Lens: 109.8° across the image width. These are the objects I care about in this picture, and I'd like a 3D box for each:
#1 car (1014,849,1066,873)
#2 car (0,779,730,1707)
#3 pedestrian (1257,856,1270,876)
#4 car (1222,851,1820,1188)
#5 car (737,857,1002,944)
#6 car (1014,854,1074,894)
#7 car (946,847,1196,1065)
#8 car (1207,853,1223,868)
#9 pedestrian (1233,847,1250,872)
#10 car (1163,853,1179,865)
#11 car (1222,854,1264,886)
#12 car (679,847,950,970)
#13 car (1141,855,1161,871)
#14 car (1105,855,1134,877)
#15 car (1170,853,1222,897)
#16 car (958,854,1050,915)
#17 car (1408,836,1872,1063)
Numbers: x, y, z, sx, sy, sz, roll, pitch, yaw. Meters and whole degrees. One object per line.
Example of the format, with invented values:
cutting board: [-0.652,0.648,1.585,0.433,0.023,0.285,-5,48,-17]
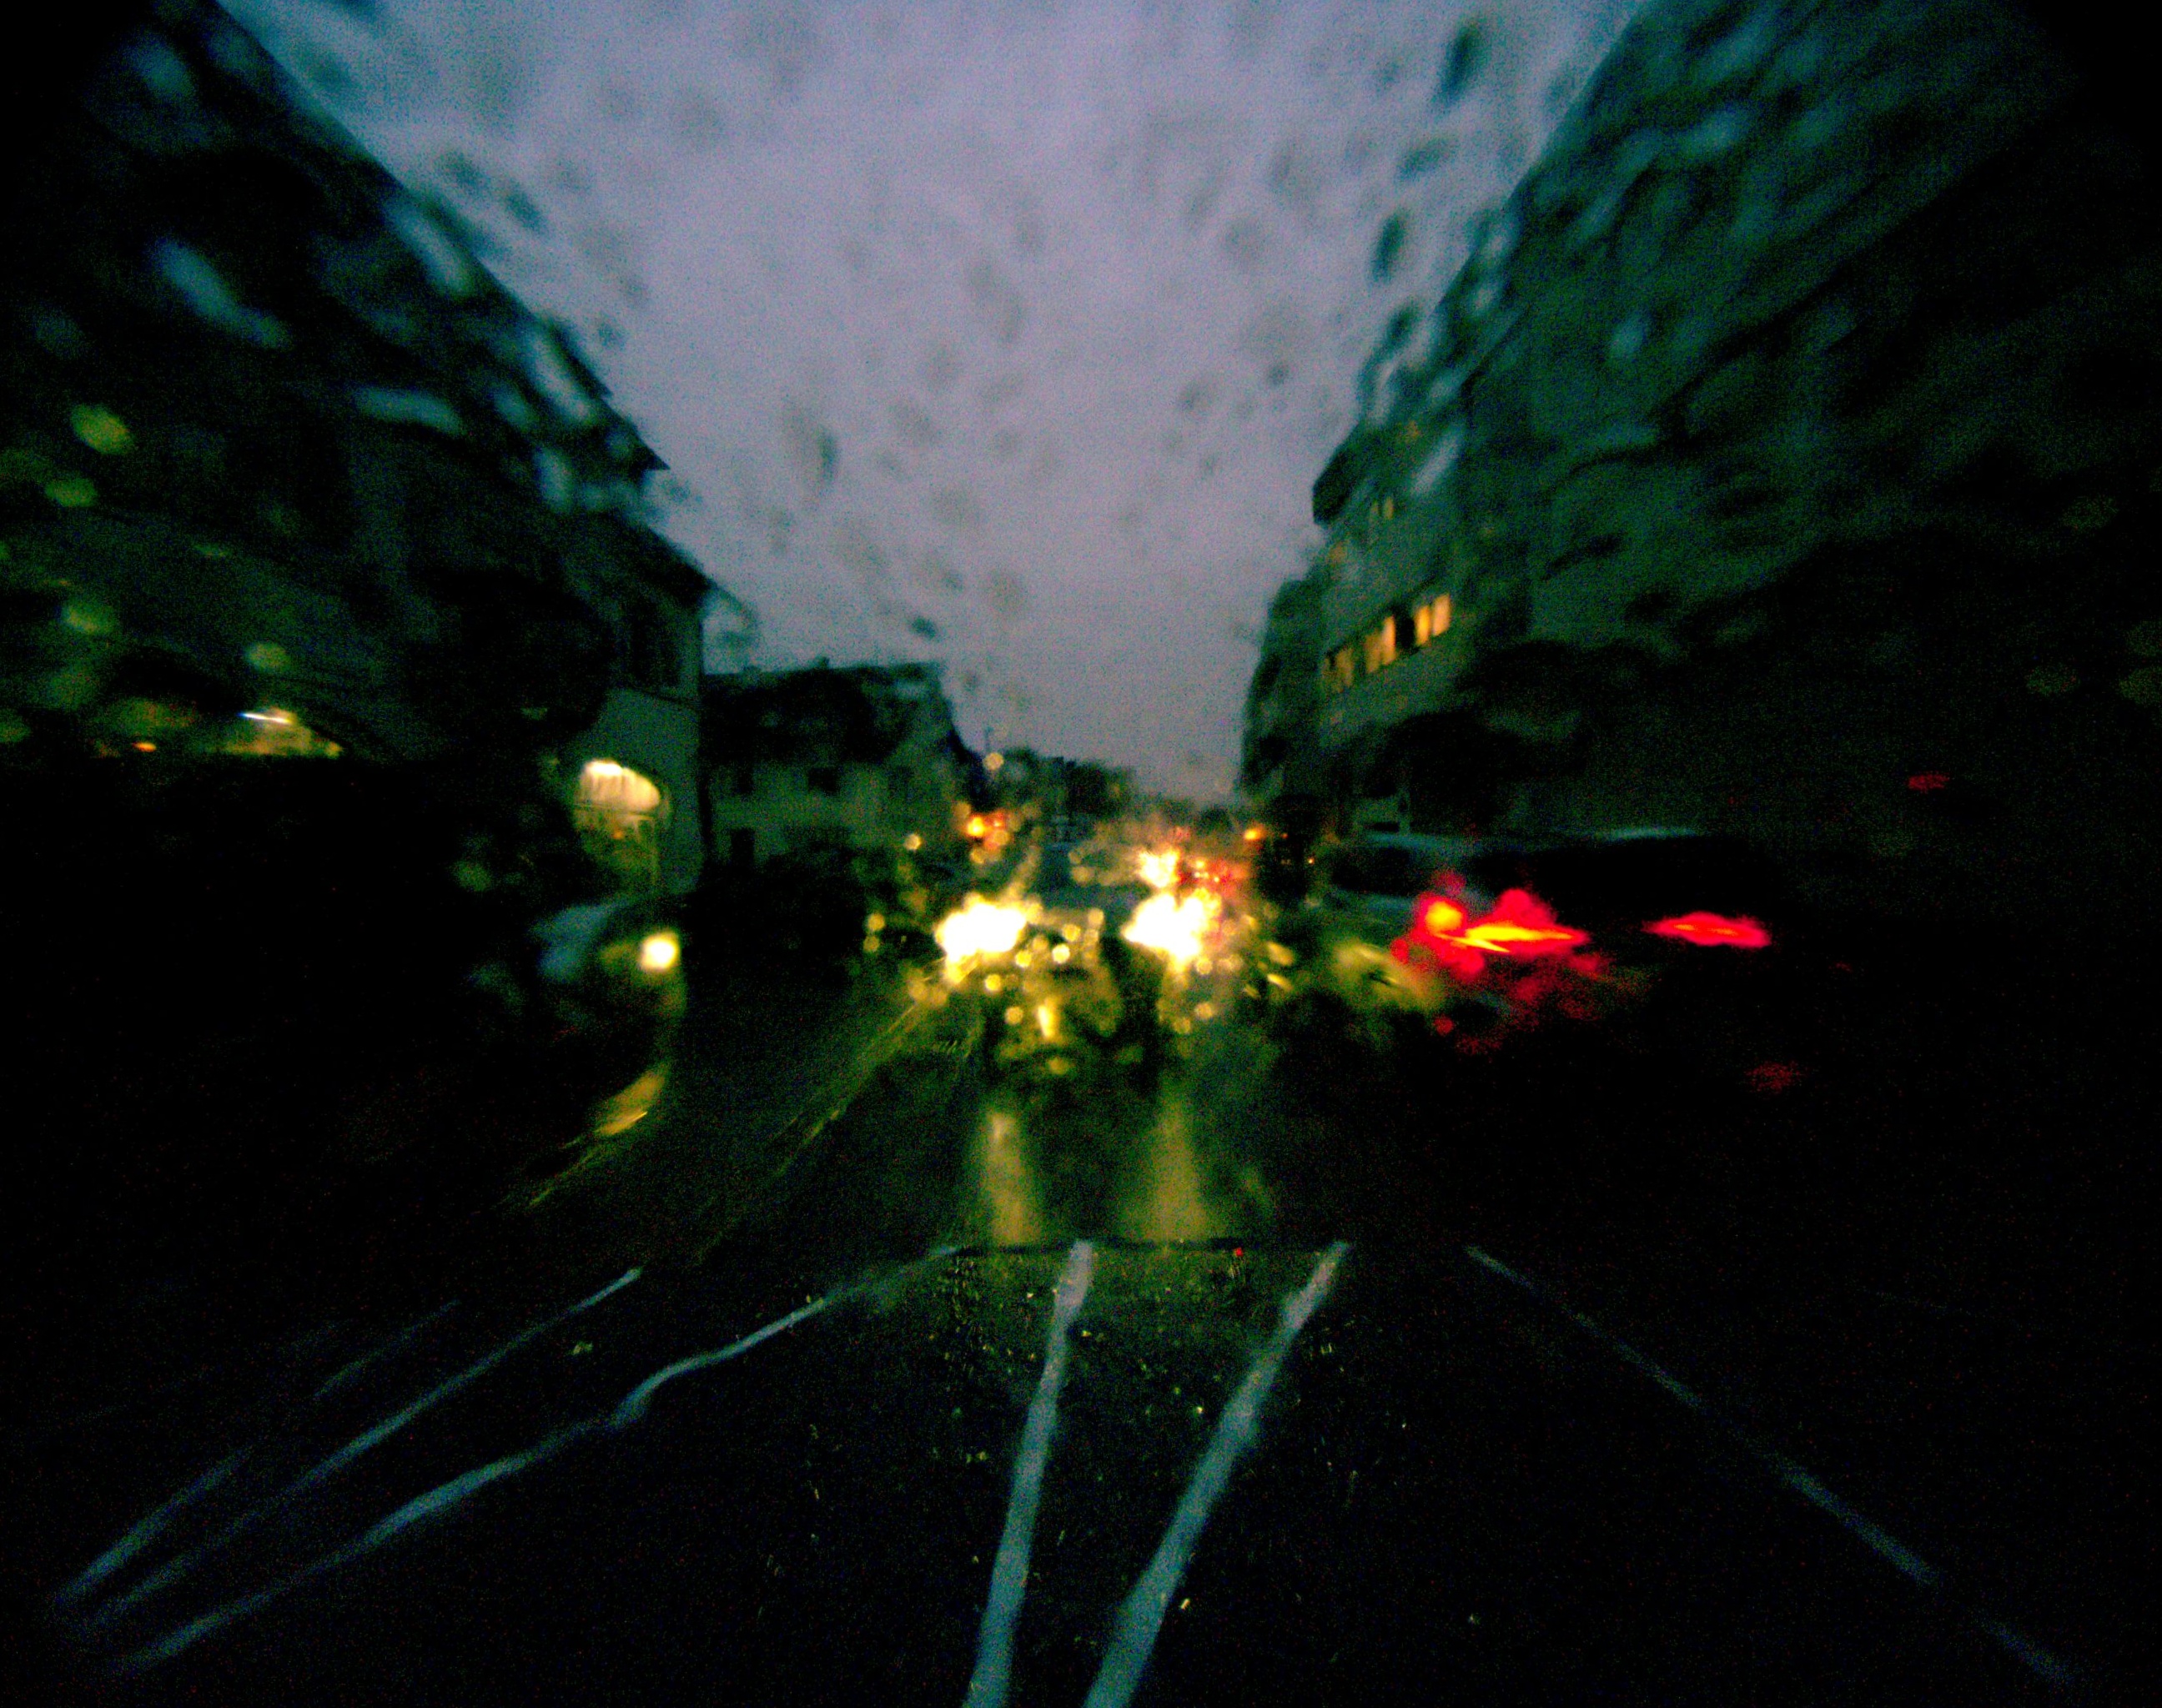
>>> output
car: [-2.812,0.460,52.509,3.295,1.433,1.687,3,2,8]
car: [-3.772,0.750,2.181,4.617,1.765,1.944,0,0,-4]
pedestrian: [12.064,0.801,50.202,0.757,1.303,0.829,-1,1,7]
car: [2.586,0.792,5.892,1.816,1.587,4.397,-1,0,-5]
car: [-3.844,0.836,14.420,4.478,1.465,1.898,1,0,0]
car: [-1.436,0.753,31.286,1.798,1.452,4.532,1,1,6]
car: [-0.084,0.776,7.913,1.879,1.622,3.999,-2,1,0]
car: [15.548,0.690,87.883,1.724,1.604,3.818,-3,0,10]
pedestrian: [12.519,0.396,59.255,1.200,1.927,0.978,0,0,16]
car: [11.656,0.662,98.387,1.797,1.501,4.003,1,1,10]
car: [7.961,0.748,37.733,1.678,1.438,4.430,1,0,7]
car: [-3.858,0.772,11.510,3.514,1.671,1.715,1,0,-4]
car: [7.439,0.942,80.561,1.797,1.501,4.002,1,1,8]
car: [2.930,0.879,57.306,1.797,1.501,4.002,1,1,8]
car: [4.280,0.762,28.778,1.641,1.526,3.407,-1,0,4]
car: [-2.094,0.795,22.005,1.886,1.538,4.672,1,0,3]
car: [4.962,0.705,7.532,1.799,1.633,3.812,-2,0,1]
